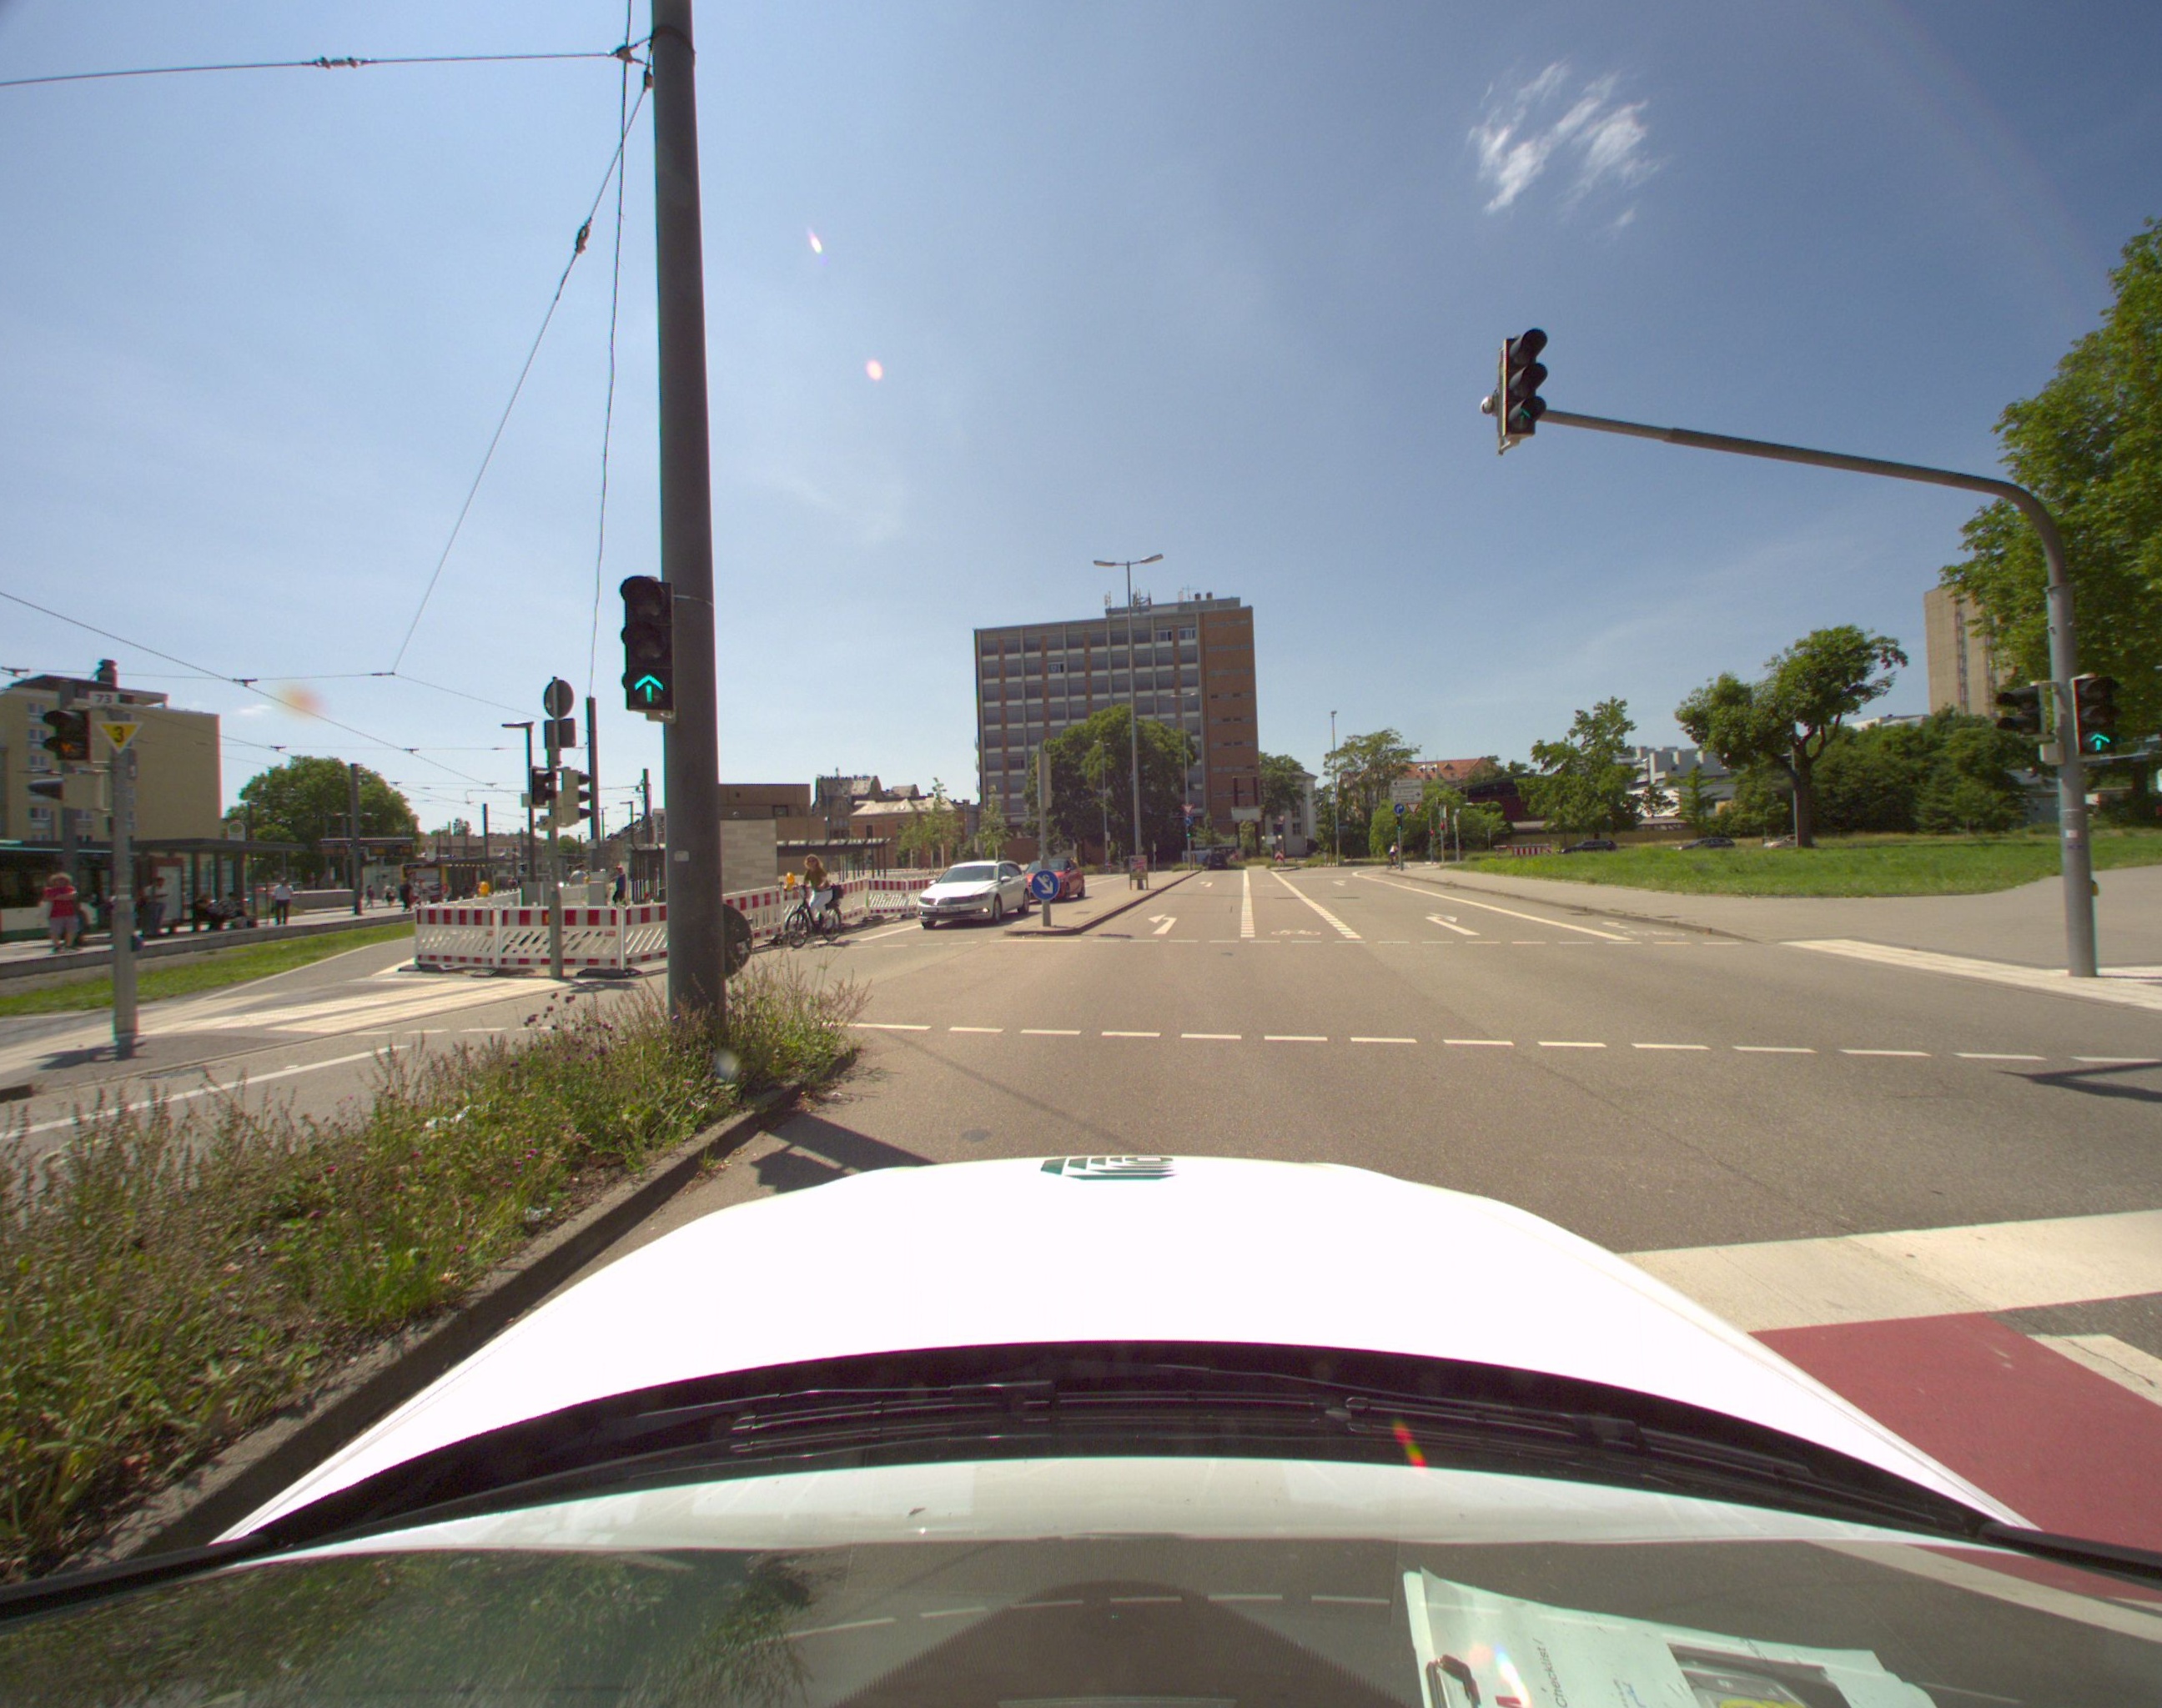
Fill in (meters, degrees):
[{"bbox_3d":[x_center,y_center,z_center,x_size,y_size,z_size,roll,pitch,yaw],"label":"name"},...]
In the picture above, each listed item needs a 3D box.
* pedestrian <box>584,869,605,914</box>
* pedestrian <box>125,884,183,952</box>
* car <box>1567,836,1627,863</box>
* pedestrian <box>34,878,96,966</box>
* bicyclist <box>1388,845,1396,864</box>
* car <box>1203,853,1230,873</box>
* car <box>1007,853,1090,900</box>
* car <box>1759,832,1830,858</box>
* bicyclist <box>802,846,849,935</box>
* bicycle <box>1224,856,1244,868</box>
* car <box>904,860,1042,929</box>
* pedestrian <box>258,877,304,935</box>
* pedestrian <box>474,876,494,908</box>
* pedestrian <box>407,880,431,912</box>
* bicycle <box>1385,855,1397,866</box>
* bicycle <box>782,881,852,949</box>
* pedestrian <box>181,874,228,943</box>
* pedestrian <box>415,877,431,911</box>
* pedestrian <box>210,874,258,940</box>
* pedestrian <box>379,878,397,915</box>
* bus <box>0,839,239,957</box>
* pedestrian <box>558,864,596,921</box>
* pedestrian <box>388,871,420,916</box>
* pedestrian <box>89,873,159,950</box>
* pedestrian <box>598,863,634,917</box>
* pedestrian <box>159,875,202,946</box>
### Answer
[{"bbox_3d":[-21.664,1.665,36.293,0.723,1.923,1.064,-1,-2,-29],"label":"pedestrian"},{"bbox_3d":[-26.750,1.822,23.513,0.918,1.851,0.651,-2,-1,-34],"label":"pedestrian"},{"bbox_3d":[43.552,-0.364,68.830,3.959,2.014,1.475,-3,-2,13],"label":"car"},{"bbox_3d":[-23.152,1.523,18.564,0.677,1.909,0.634,-2,-1,-33],"label":"pedestrian"},{"bbox_3d":[20.028,0.014,52.430,0.348,1.227,0.568,-3,-1,34],"label":"bicyclist"},{"bbox_3d":[11.069,0.692,66.664,1.682,1.527,3.691,-2,0,2],"label":"car"},{"bbox_3d":[-1.030,0.731,27.991,1.719,1.425,4.138,-3,-1,13],"label":"car"},{"bbox_3d":[57.496,-0.717,65.676,3.959,1.871,1.475,-3,-2,13],"label":"car"},{"bbox_3d":[-5.102,0.721,16.276,0.562,1.719,0.509,-5,-1,17],"label":"bicyclist"},{"bbox_3d":[16.360,0.841,87.151,1.989,1.135,0.577,-3,-2,22],"label":"bicycle"},{"bbox_3d":[-2.511,0.923,20.294,1.981,1.438,4.718,-3,-1,10],"label":"car"},{"bbox_3d":[-30.156,1.946,30.711,0.902,2.096,0.826,-2,-1,-19],"label":"pedestrian"},{"bbox_3d":[-39.837,2.509,54.364,0.833,2.096,0.895,-2,-1,-24],"label":"pedestrian"},{"bbox_3d":[-39.495,2.518,48.576,0.767,1.834,0.980,-3,-1,42],"label":"pedestrian"},{"bbox_3d":[19.920,0.410,52.311,0.373,0.646,1.655,-3,0,34],"label":"bicycle"},{"bbox_3d":[-5.158,1.165,16.021,0.395,1.174,1.777,-2,0,14],"label":"bicycle"},{"bbox_3d":[-27.815,1.712,25.855,0.830,2.096,0.634,-2,-1,-35],"label":"pedestrian"},{"bbox_3d":[-38.655,2.340,47.855,0.580,1.933,0.598,-3,-1,42],"label":"pedestrian"},{"bbox_3d":[-27.924,1.730,26.870,0.906,2.096,0.822,-2,-1,-35],"label":"pedestrian"},{"bbox_3d":[-41.321,2.519,48.545,0.648,2.111,0.711,-3,-1,42],"label":"pedestrian"},{"bbox_3d":[-31.333,1.274,23.555,3.023,3.158,17.362,-2,0,-23],"label":"bus"},{"bbox_3d":[-16.942,1.276,27.386,0.721,1.864,0.771,-3,-2,26],"label":"pedestrian"},{"bbox_3d":[-32.535,1.890,39.142,0.902,2.096,0.826,-2,-1,-19],"label":"pedestrian"},{"bbox_3d":[-26.118,1.545,22.247,0.948,1.990,1.018,-2,-1,-33],"label":"pedestrian"},{"bbox_3d":[-16.462,1.266,28.817,0.985,1.832,0.626,-2,-1,-38],"label":"pedestrian"},{"bbox_3d":[-27.511,1.721,24.894,0.704,2.096,0.638,-2,-1,-35],"label":"pedestrian"}]
